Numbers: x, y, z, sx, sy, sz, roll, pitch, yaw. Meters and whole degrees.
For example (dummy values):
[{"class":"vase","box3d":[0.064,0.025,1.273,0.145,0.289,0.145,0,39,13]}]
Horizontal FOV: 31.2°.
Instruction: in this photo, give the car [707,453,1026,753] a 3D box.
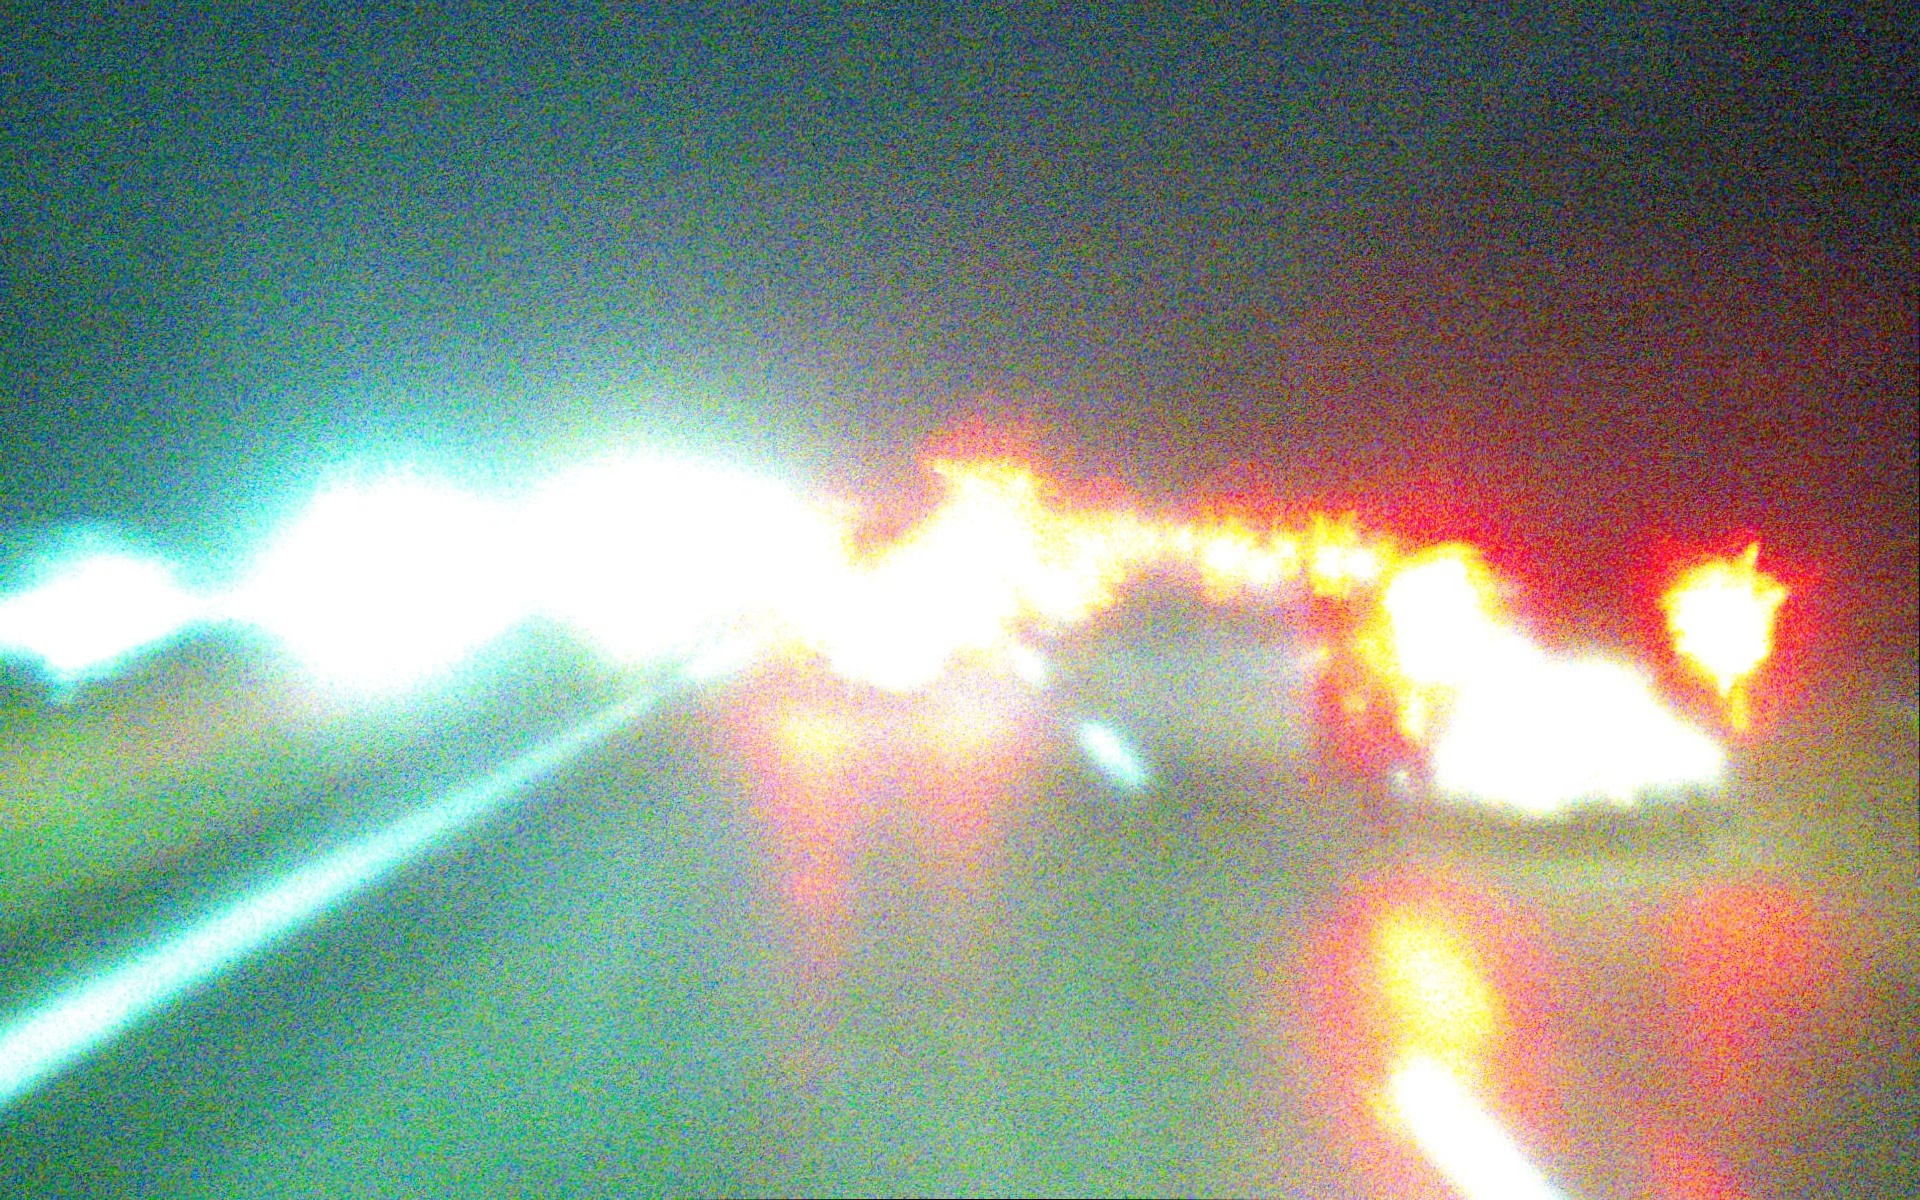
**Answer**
[{"class":"car","box3d":[-0.924,-0.055,33.028,2.709,2.525,5.832,-2,2,-2]}]

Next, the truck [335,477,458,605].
[{"class":"truck","box3d":[-18.784,-1.994,114.987,2.921,4.080,6.994,-2,1,-1]}]

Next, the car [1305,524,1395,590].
[{"class":"car","box3d":[9.924,-1.105,87.706,1.856,1.612,4.000,1,1,0]}]

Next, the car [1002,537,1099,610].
[{"class":"car","box3d":[2.066,-0.629,79.790,2.137,1.612,4.000,1,1,0]}]

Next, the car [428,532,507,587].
[{"class":"car","box3d":[-14.620,-1.221,102.228,1.797,1.568,3.974,-1,1,-1]}]

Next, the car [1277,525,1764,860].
[{"class":"car","box3d":[2.852,0.396,18.364,1.884,1.583,4.000,0,1,-1]}]

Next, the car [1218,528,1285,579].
[{"class":"car","box3d":[9.518,-1.511,112.598,1.856,1.612,4.000,1,1,0]}]
